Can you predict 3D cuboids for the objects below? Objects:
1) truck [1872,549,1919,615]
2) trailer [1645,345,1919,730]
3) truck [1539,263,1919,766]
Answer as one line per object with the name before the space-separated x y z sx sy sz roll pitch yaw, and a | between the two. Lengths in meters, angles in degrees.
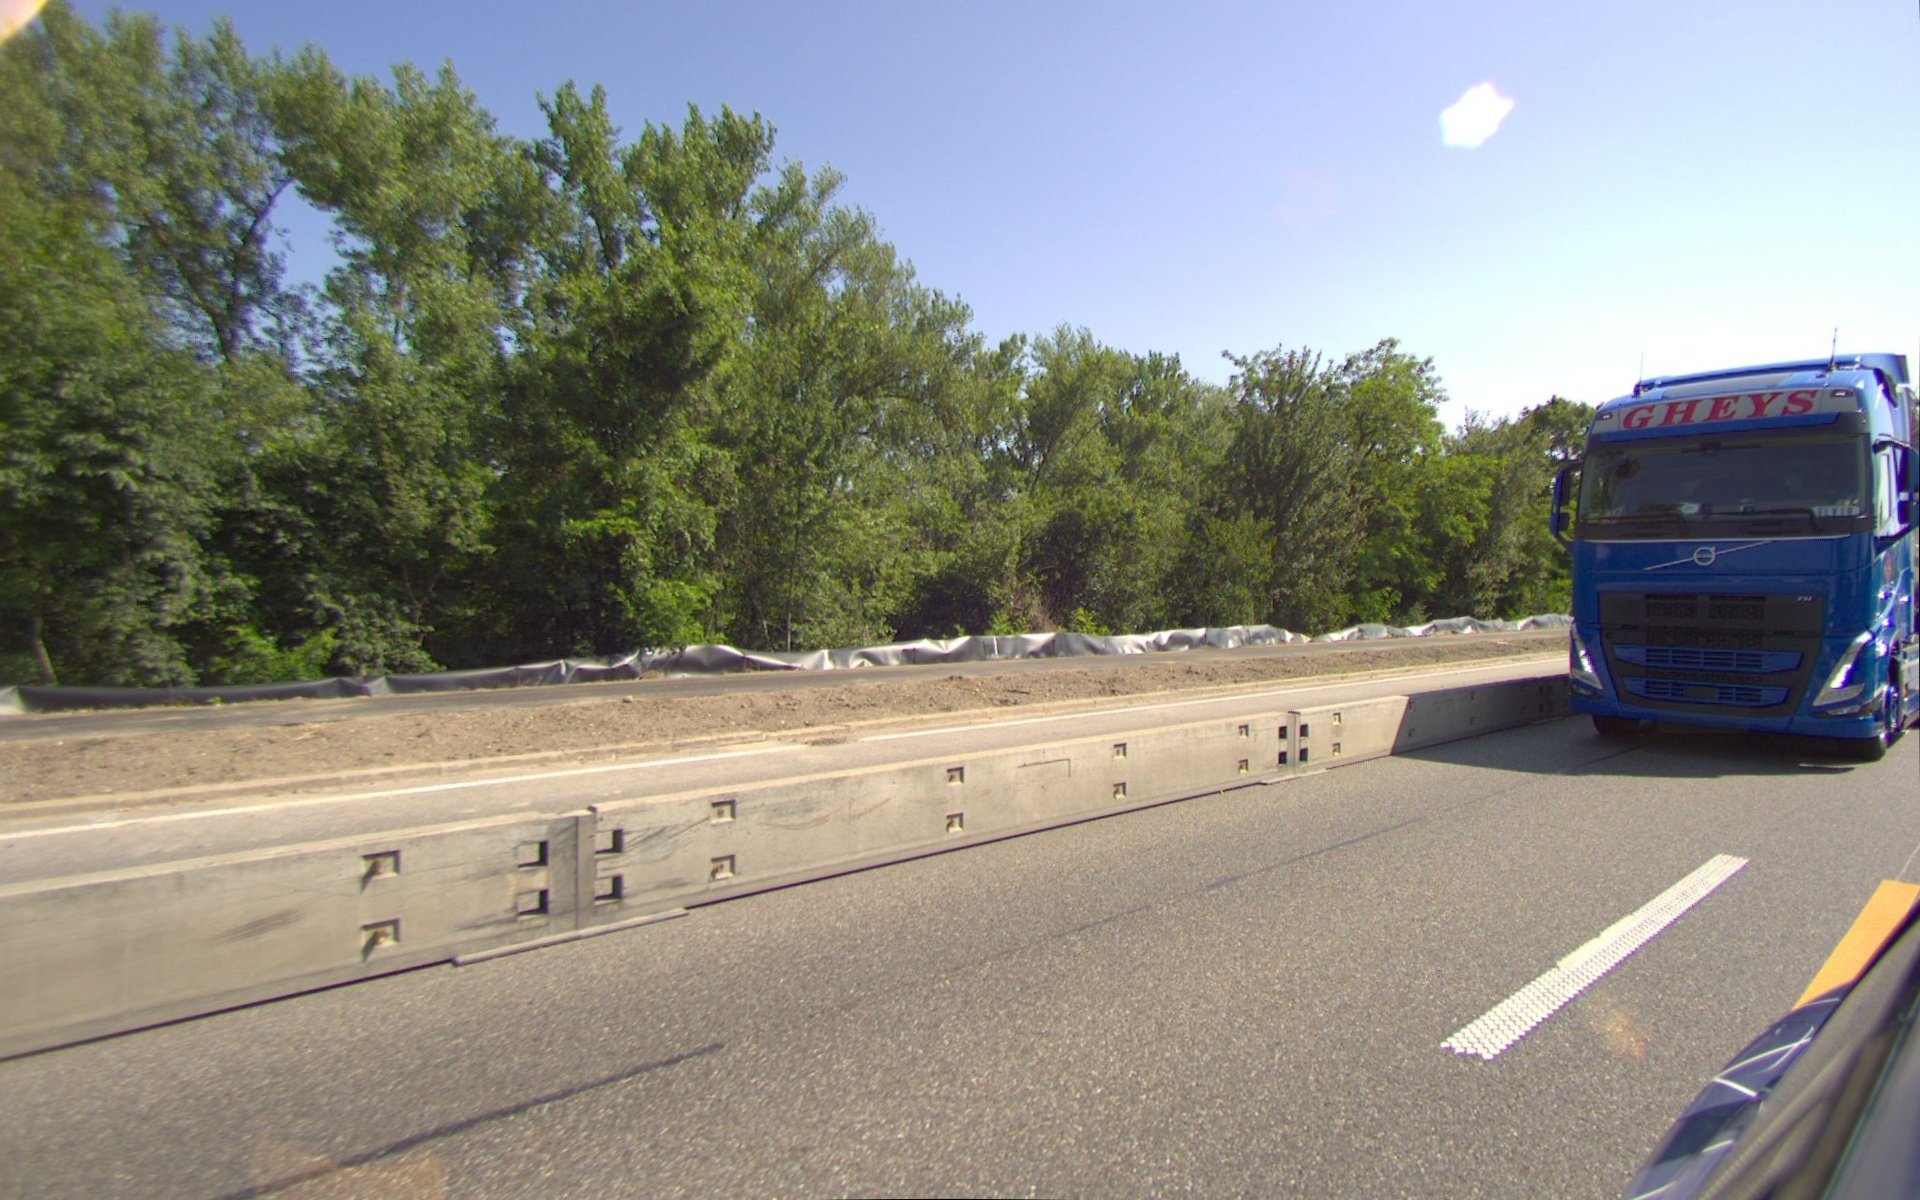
truck | 62.492 -1.153 66.994 2.853 4.033 8.535 4 3 42
trailer | 14.387 -0.725 15.987 12.394 4.188 2.700 0 3 -41
truck | 9.606 -0.756 11.770 7.174 4.152 2.699 0 3 -42
